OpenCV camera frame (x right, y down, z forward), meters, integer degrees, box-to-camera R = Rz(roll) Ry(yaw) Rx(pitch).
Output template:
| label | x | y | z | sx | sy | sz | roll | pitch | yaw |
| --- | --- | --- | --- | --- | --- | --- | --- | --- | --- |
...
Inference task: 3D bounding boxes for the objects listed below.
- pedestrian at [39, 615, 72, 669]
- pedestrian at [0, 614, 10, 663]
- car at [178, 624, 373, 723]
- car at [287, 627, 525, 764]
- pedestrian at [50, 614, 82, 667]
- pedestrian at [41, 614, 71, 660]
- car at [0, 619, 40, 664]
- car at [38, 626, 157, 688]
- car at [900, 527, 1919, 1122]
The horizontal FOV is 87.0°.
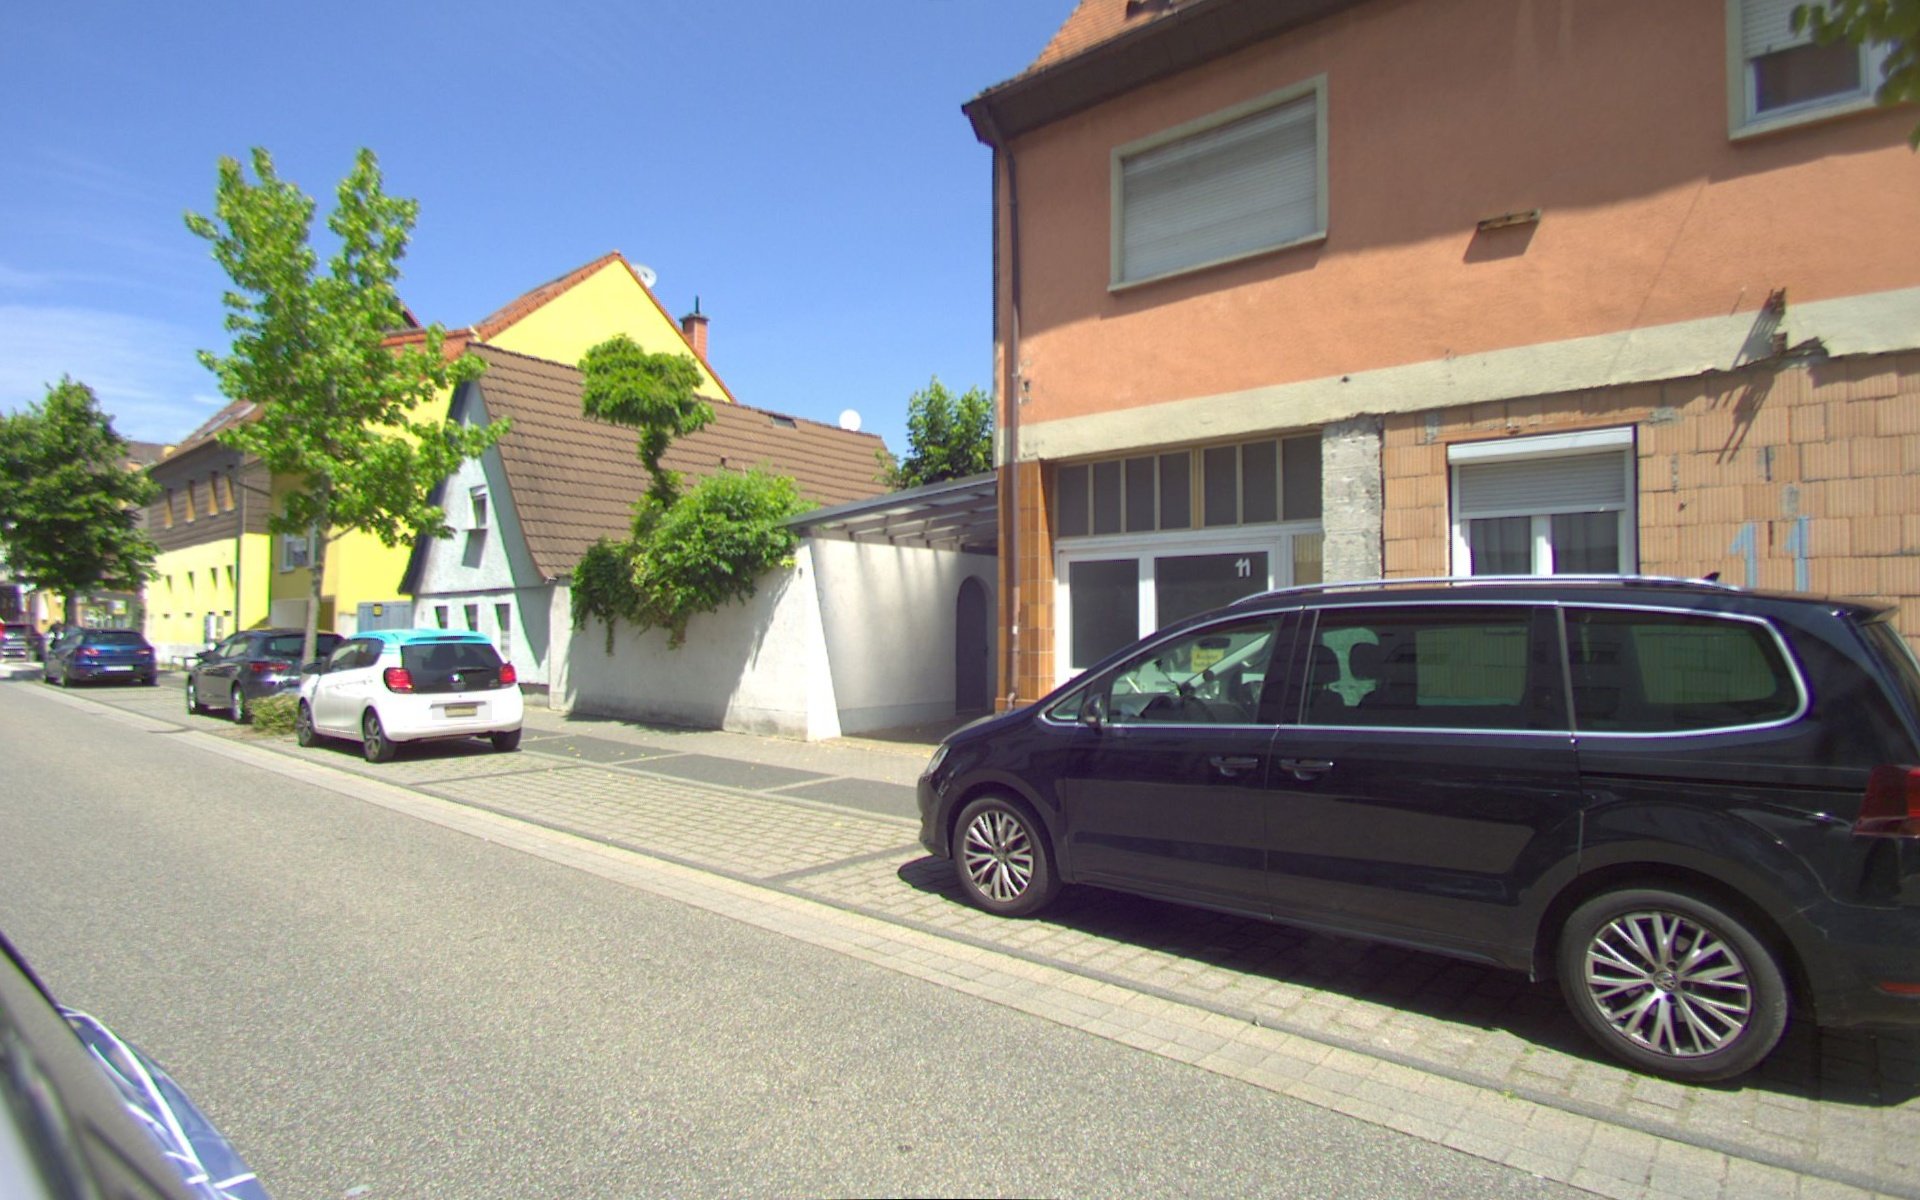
| label | x | y | z | sx | sy | sz | roll | pitch | yaw |
| --- | --- | --- | --- | --- | --- | --- | --- | --- | --- |
| pedestrian | -27.207 | 1.266 | 30.440 | 0.528 | 1.614 | 0.623 | -1 | -3 | 41 |
| pedestrian | -33.302 | 1.332 | 34.918 | 0.624 | 1.668 | 0.635 | -1 | -4 | 41 |
| car | -11.398 | 1.144 | 16.748 | 4.096 | 1.441 | 1.628 | -1 | -4 | 41 |
| car | -6.879 | 1.051 | 12.446 | 3.409 | 1.441 | 1.537 | -1 | -2 | 42 |
| pedestrian | -27.666 | 1.242 | 31.329 | 0.528 | 1.614 | 0.623 | -1 | -3 | 41 |
| pedestrian | -32.285 | 1.306 | 36.145 | 0.770 | 1.614 | 0.655 | -1 | -3 | 41 |
| car | -35.885 | 1.534 | 37.848 | 4.156 | 1.587 | 1.730 | -1 | -2 | 41 |
| car | -21.363 | 1.358 | 25.012 | 4.156 | 1.418 | 1.639 | -1 | -3 | 41 |
| car | 1.945 | 0.714 | 4.877 | 4.517 | 1.739 | 1.757 | -1 | -3 | 41 |
